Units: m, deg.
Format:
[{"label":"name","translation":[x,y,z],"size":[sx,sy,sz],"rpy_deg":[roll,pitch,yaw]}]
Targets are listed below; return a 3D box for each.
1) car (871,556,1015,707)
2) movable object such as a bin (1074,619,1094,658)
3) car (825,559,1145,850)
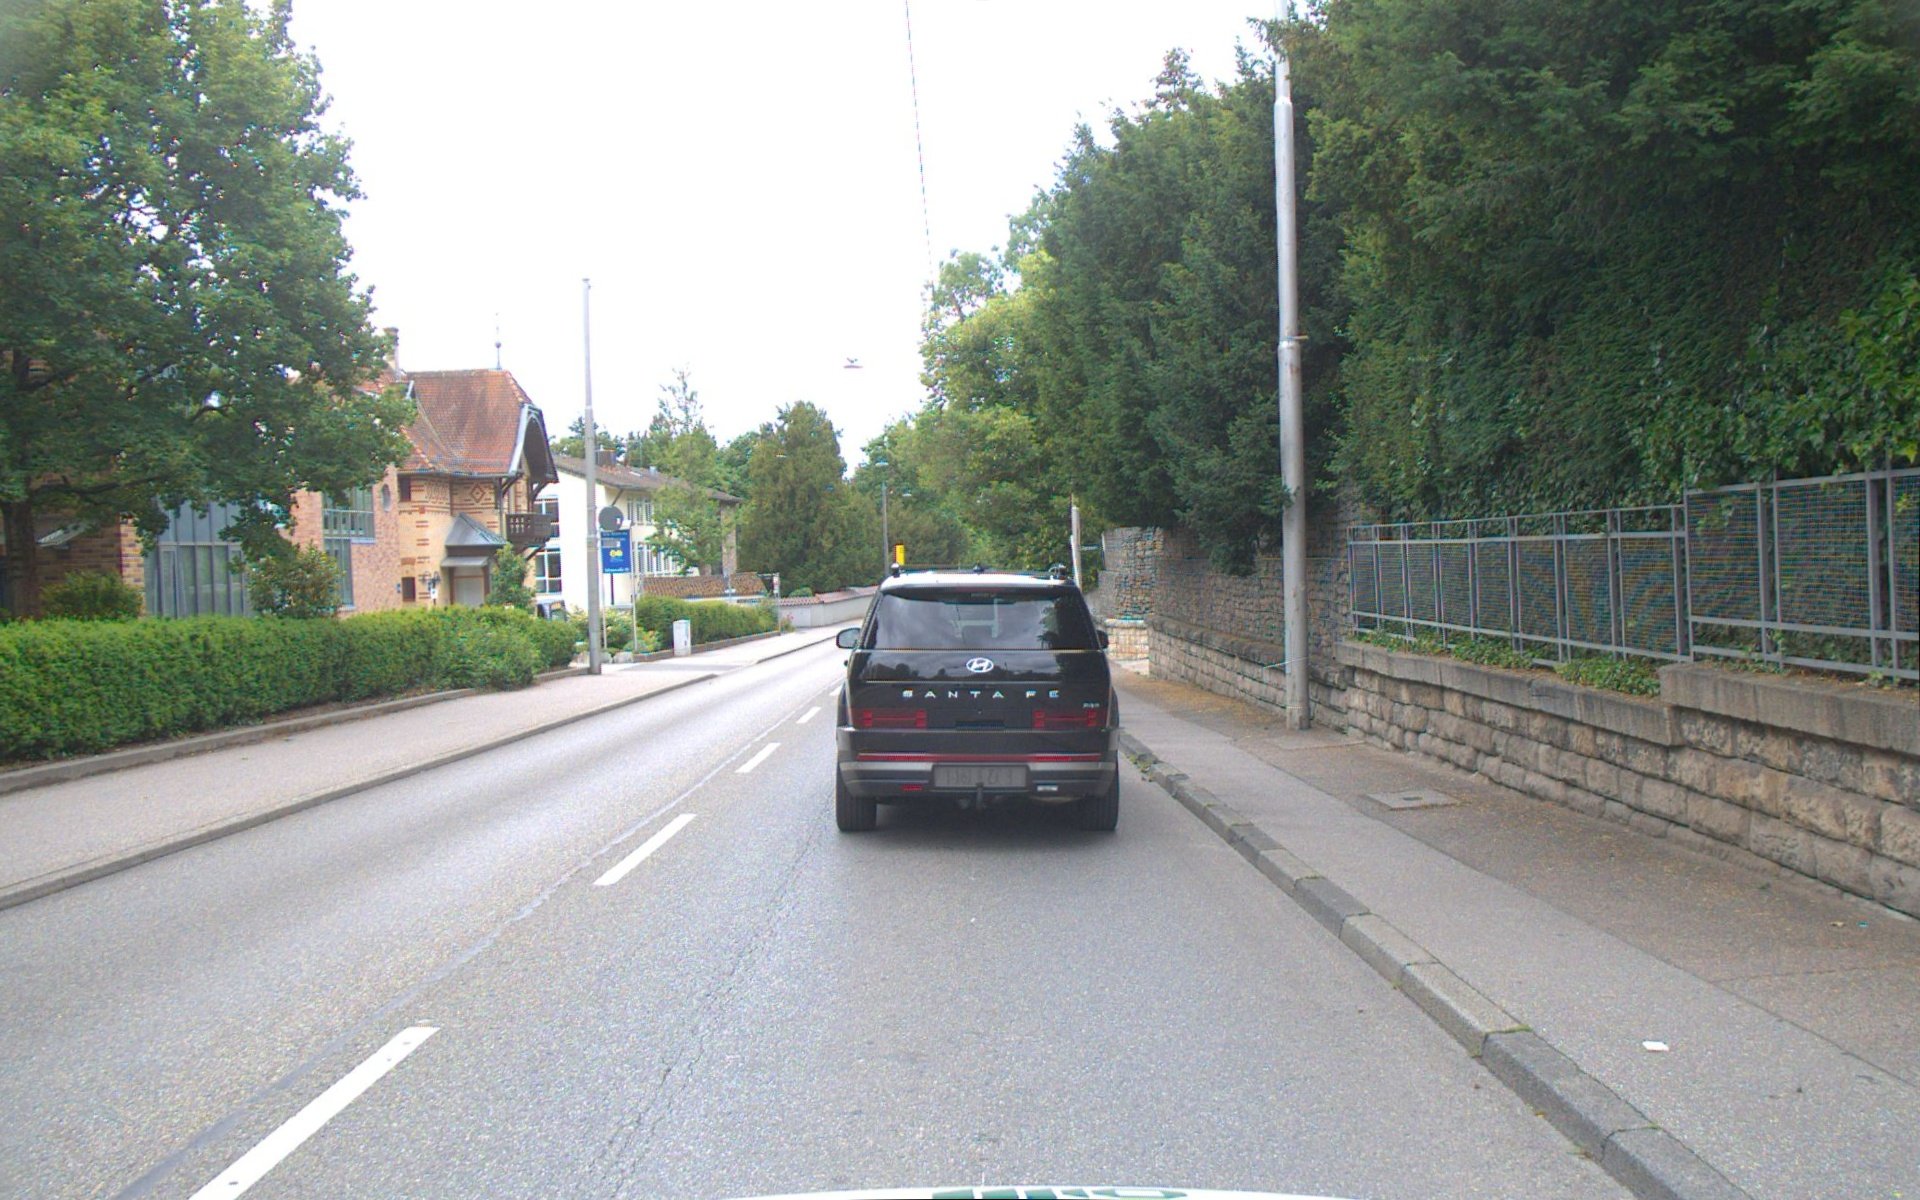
[{"label":"car","translation":[-0.284,0.376,24.316],"size":[1.917,1.989,4.223],"rpy_deg":[1,2,-2]},{"label":"movable object such as a bin","translation":[3.058,0.944,40.728],"size":[0.435,0.925,0.394],"rpy_deg":[-2,0,9]},{"label":"car","translation":[0.145,0.614,12.064],"size":[1.917,1.743,4.223],"rpy_deg":[0,0,0]}]
